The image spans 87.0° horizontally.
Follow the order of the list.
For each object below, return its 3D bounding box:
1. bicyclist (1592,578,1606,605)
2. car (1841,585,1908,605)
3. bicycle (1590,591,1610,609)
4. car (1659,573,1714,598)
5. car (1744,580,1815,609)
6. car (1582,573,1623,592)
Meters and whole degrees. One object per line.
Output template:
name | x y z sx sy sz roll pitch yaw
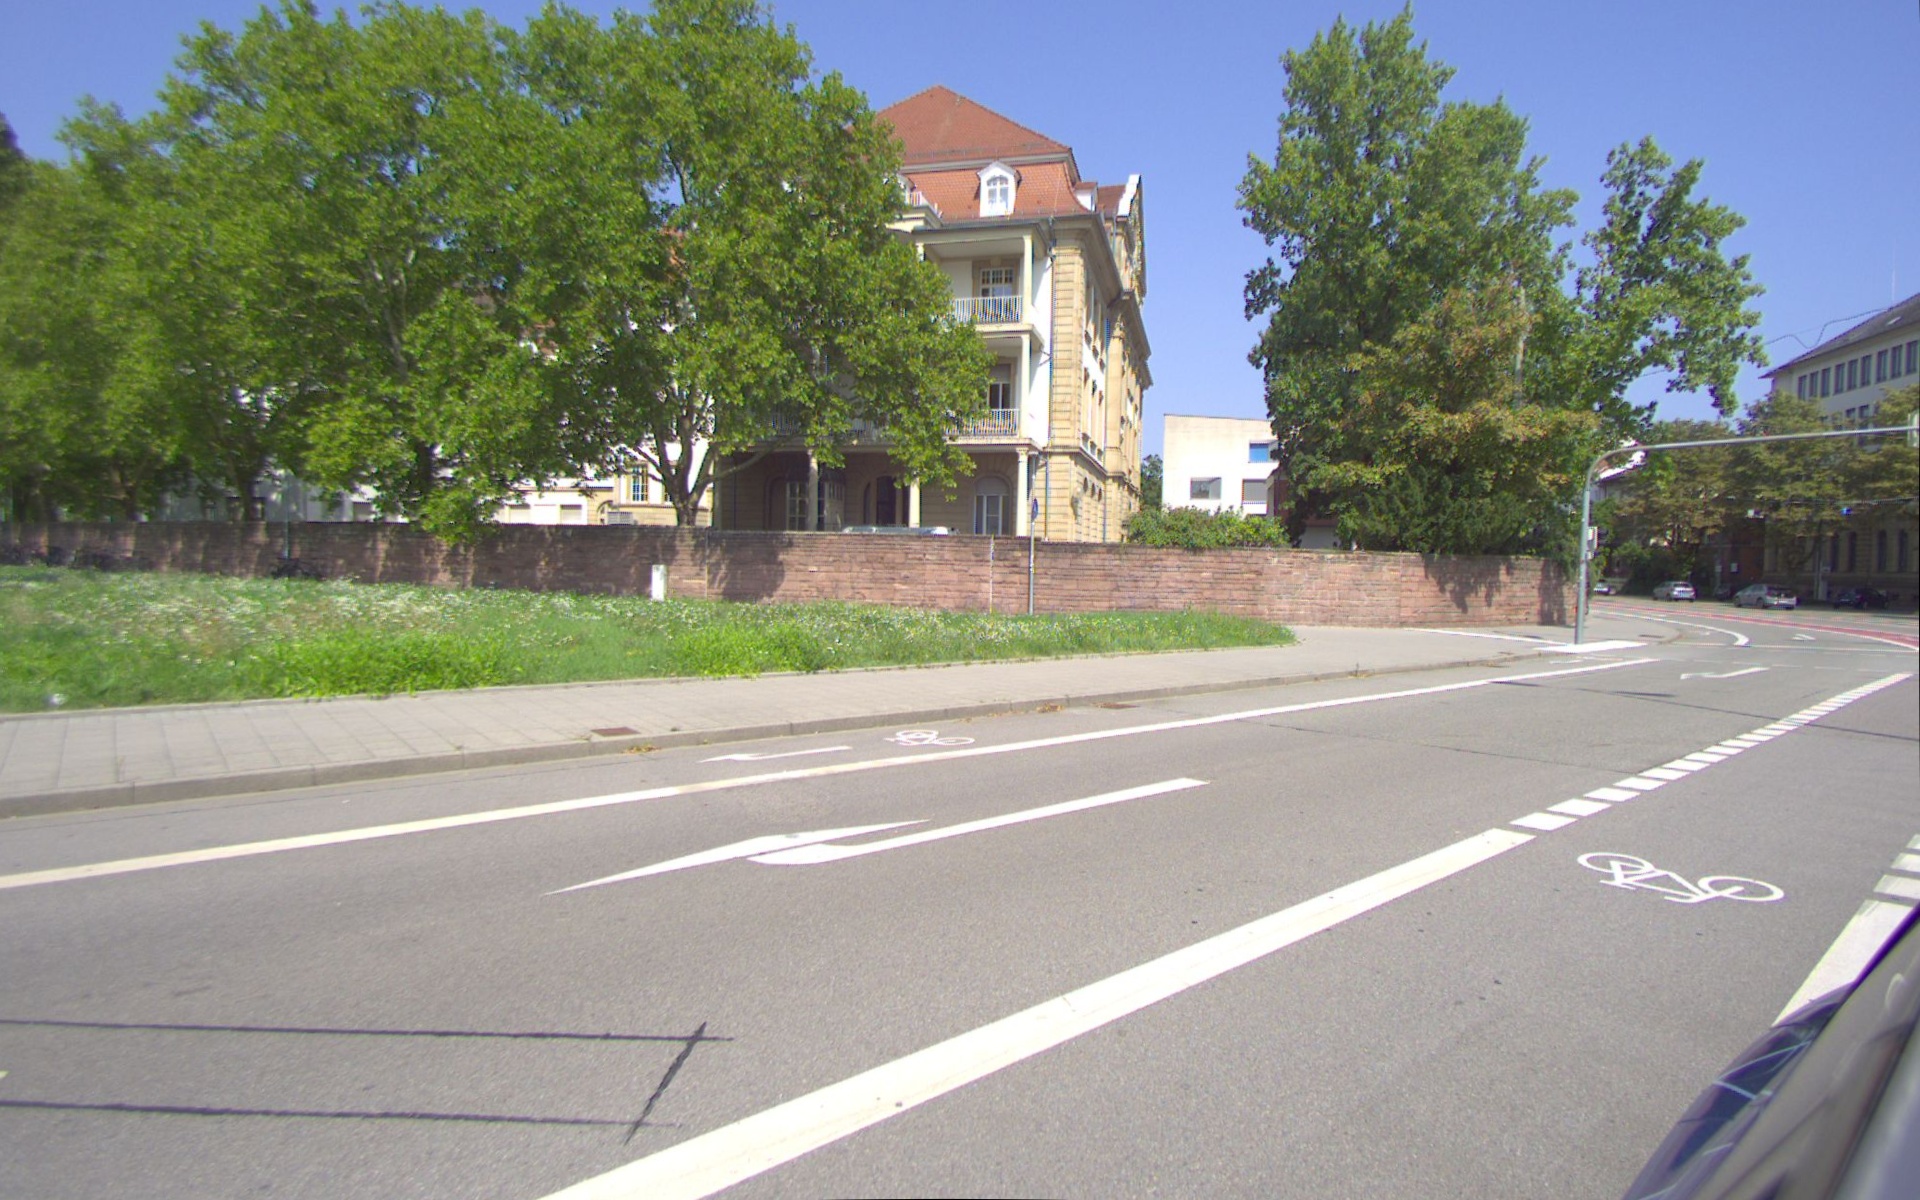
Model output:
bicyclist | 30.671 -0.417 48.577 0.531 1.248 0.432 -1 3 -43
car | 60.021 -0.316 66.461 3.009 1.190 1.248 2 2 10
bicycle | 30.821 0.011 48.749 1.461 0.822 0.436 -1 3 -44
car | 54.532 -1.110 76.040 1.972 1.690 3.982 2 2 15
car | 50.999 -0.388 63.065 1.860 1.615 3.984 2 2 14
car | 58.709 -1.605 92.512 1.972 1.660 3.982 2 2 15
